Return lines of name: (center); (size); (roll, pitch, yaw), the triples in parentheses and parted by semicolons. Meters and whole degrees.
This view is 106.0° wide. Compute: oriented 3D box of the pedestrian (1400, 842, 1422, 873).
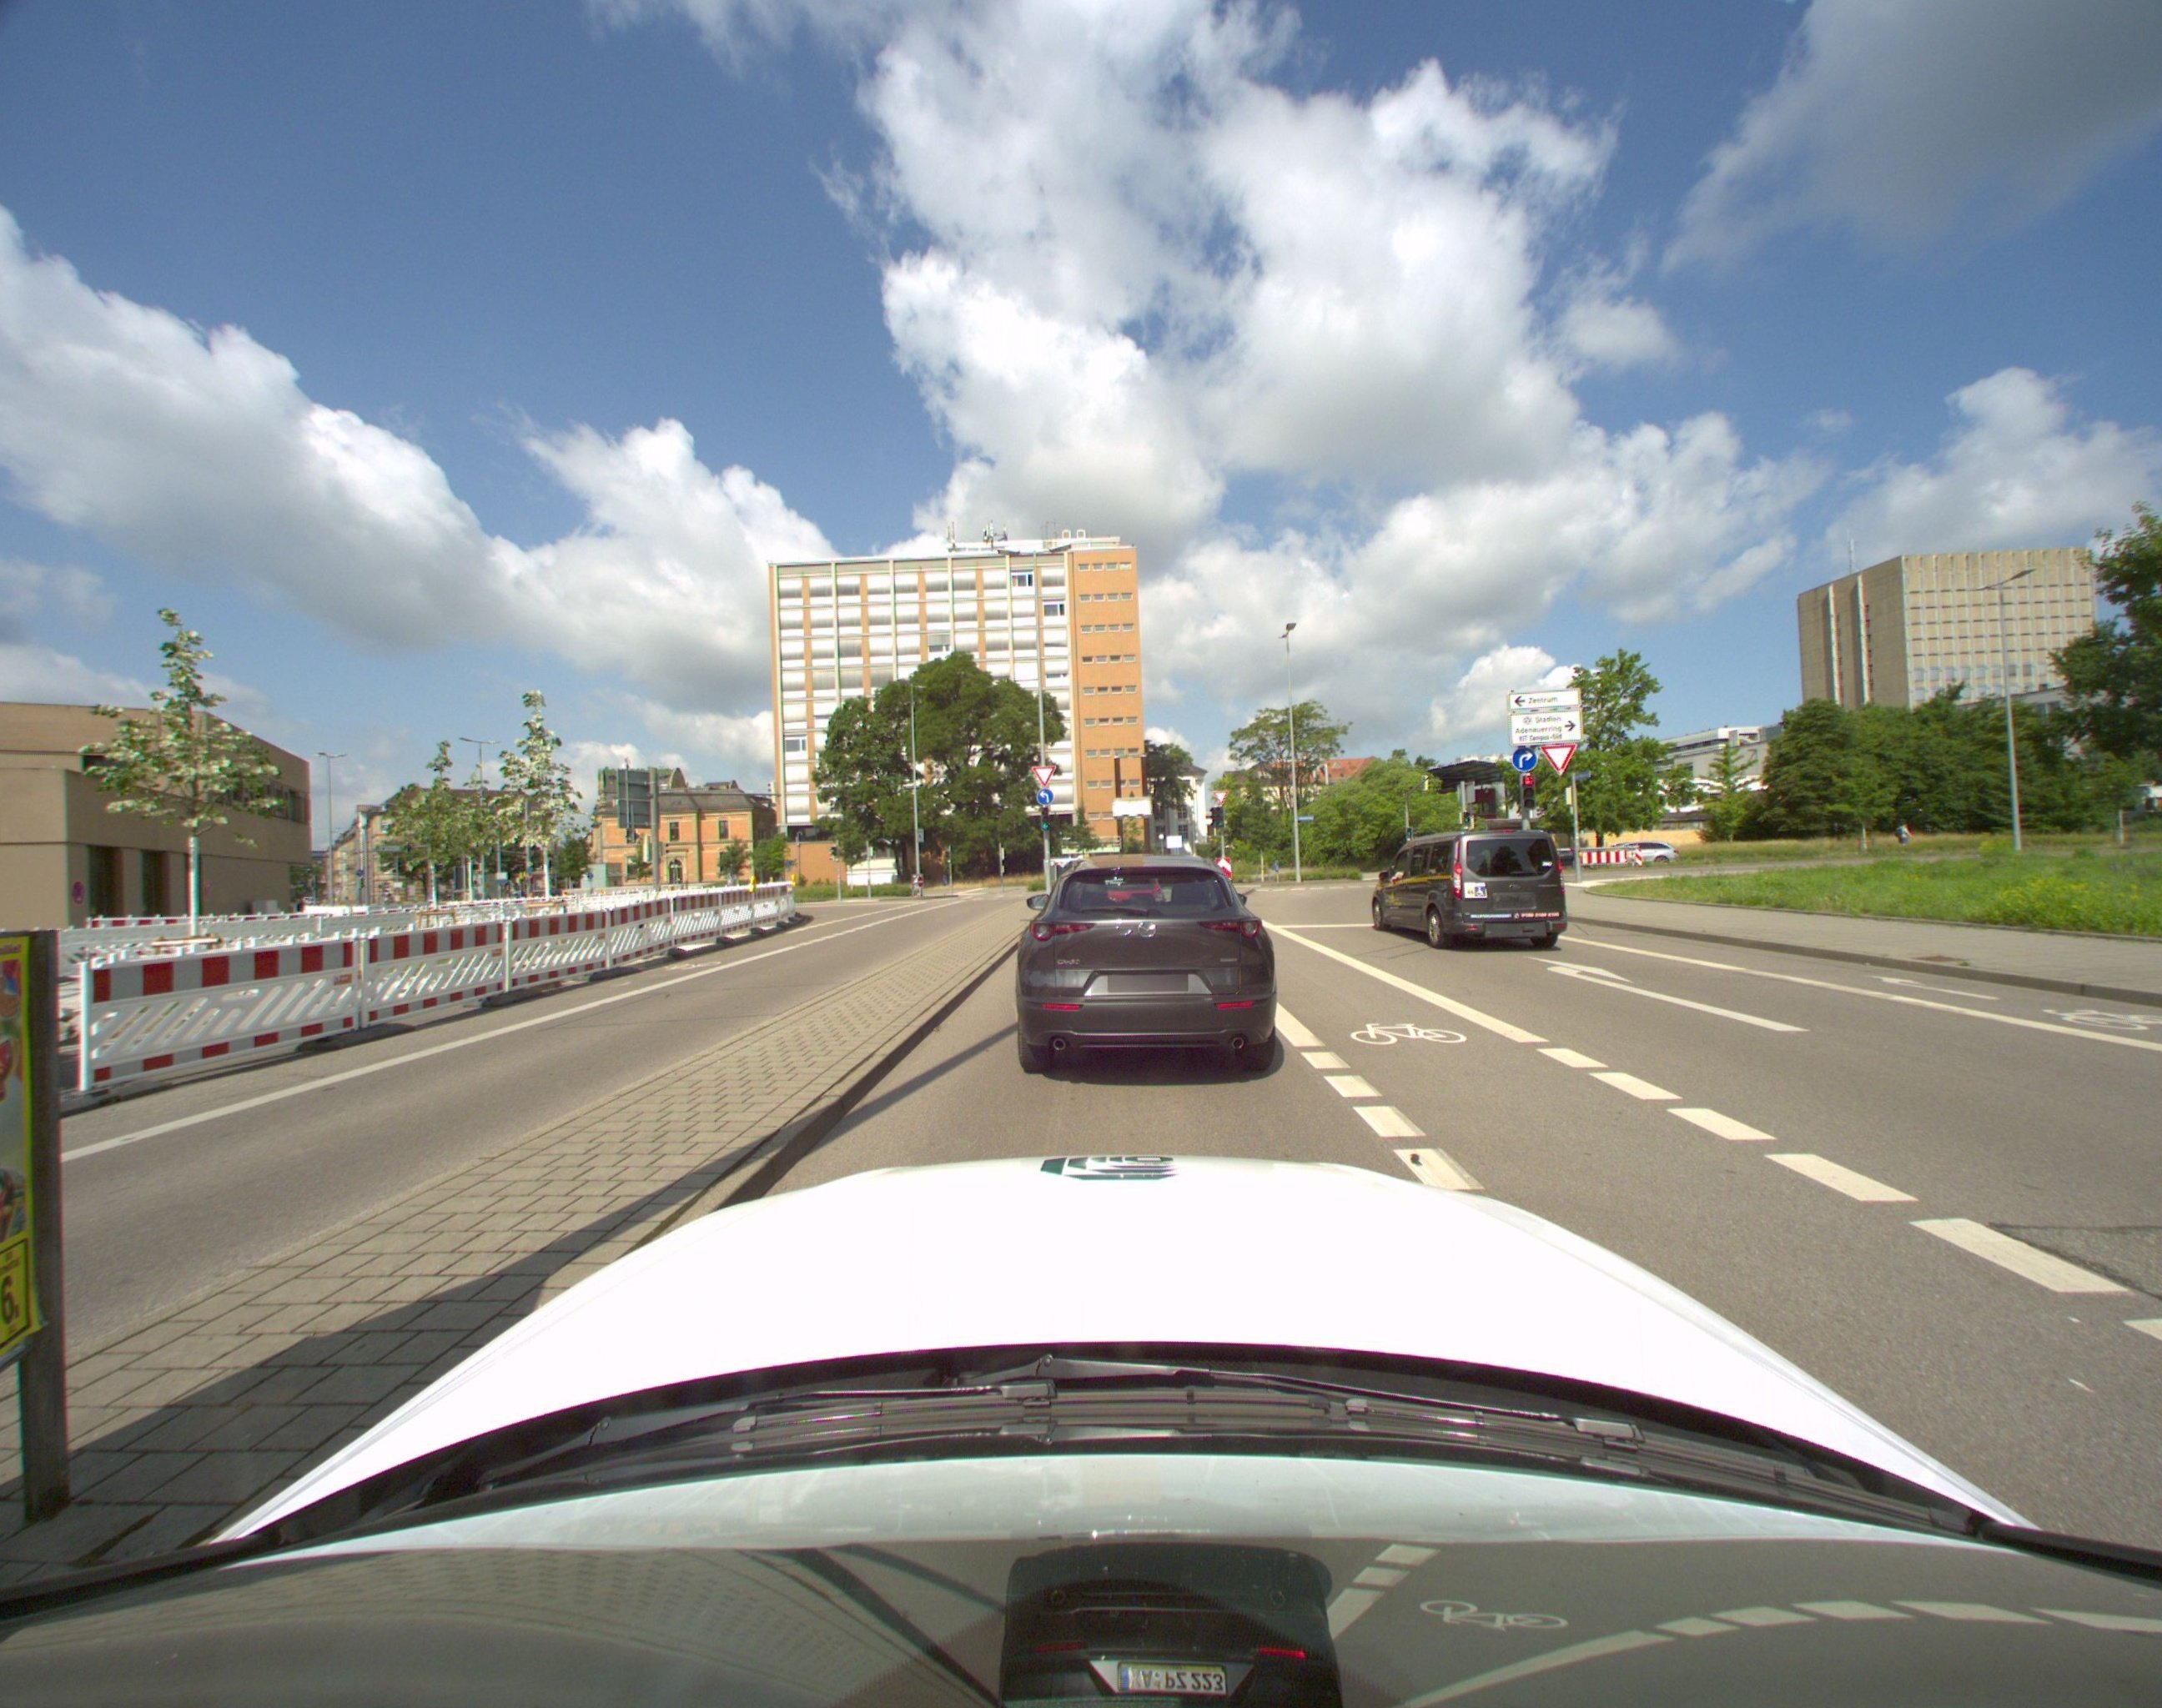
pedestrian: (20.884, 0.225, 51.612); (0.696, 1.857, 1.177); (-3, -1, -8)

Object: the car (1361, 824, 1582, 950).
car: (6.437, 0.489, 14.090); (1.840, 1.785, 4.677); (-1, 0, 4)

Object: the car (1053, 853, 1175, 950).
car: (0.629, 0.733, 14.166); (1.808, 1.439, 4.071); (0, -1, 4)

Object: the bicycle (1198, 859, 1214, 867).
bicycle: (16.979, 1.210, 110.330); (2.048, 0.936, 0.804); (-3, -1, 1)

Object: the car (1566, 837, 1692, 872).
car: (27.370, 0.057, 40.831); (4.739, 1.442, 2.066); (-3, -3, 6)

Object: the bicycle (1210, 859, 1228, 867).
bicycle: (17.279, 1.140, 102.123); (2.048, 0.936, 0.804); (-3, -1, 1)

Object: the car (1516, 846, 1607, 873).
car: (28.248, 0.311, 47.990); (4.128, 1.377, 2.002); (-3, 0, 4)

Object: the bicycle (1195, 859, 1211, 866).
bicycle: (17.254, 1.247, 115.186); (2.048, 0.936, 0.804); (-3, -1, 1)

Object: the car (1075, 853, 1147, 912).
car: (0.921, 0.770, 23.734); (1.840, 1.472, 4.338); (-3, -1, 3)

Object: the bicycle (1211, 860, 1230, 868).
bicycle: (16.810, 1.207, 98.132); (2.048, 0.936, 0.804); (-3, -1, 1)

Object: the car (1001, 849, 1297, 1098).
car: (0.480, 0.734, 7.065); (1.799, 1.508, 4.206); (0, 0, 2)
